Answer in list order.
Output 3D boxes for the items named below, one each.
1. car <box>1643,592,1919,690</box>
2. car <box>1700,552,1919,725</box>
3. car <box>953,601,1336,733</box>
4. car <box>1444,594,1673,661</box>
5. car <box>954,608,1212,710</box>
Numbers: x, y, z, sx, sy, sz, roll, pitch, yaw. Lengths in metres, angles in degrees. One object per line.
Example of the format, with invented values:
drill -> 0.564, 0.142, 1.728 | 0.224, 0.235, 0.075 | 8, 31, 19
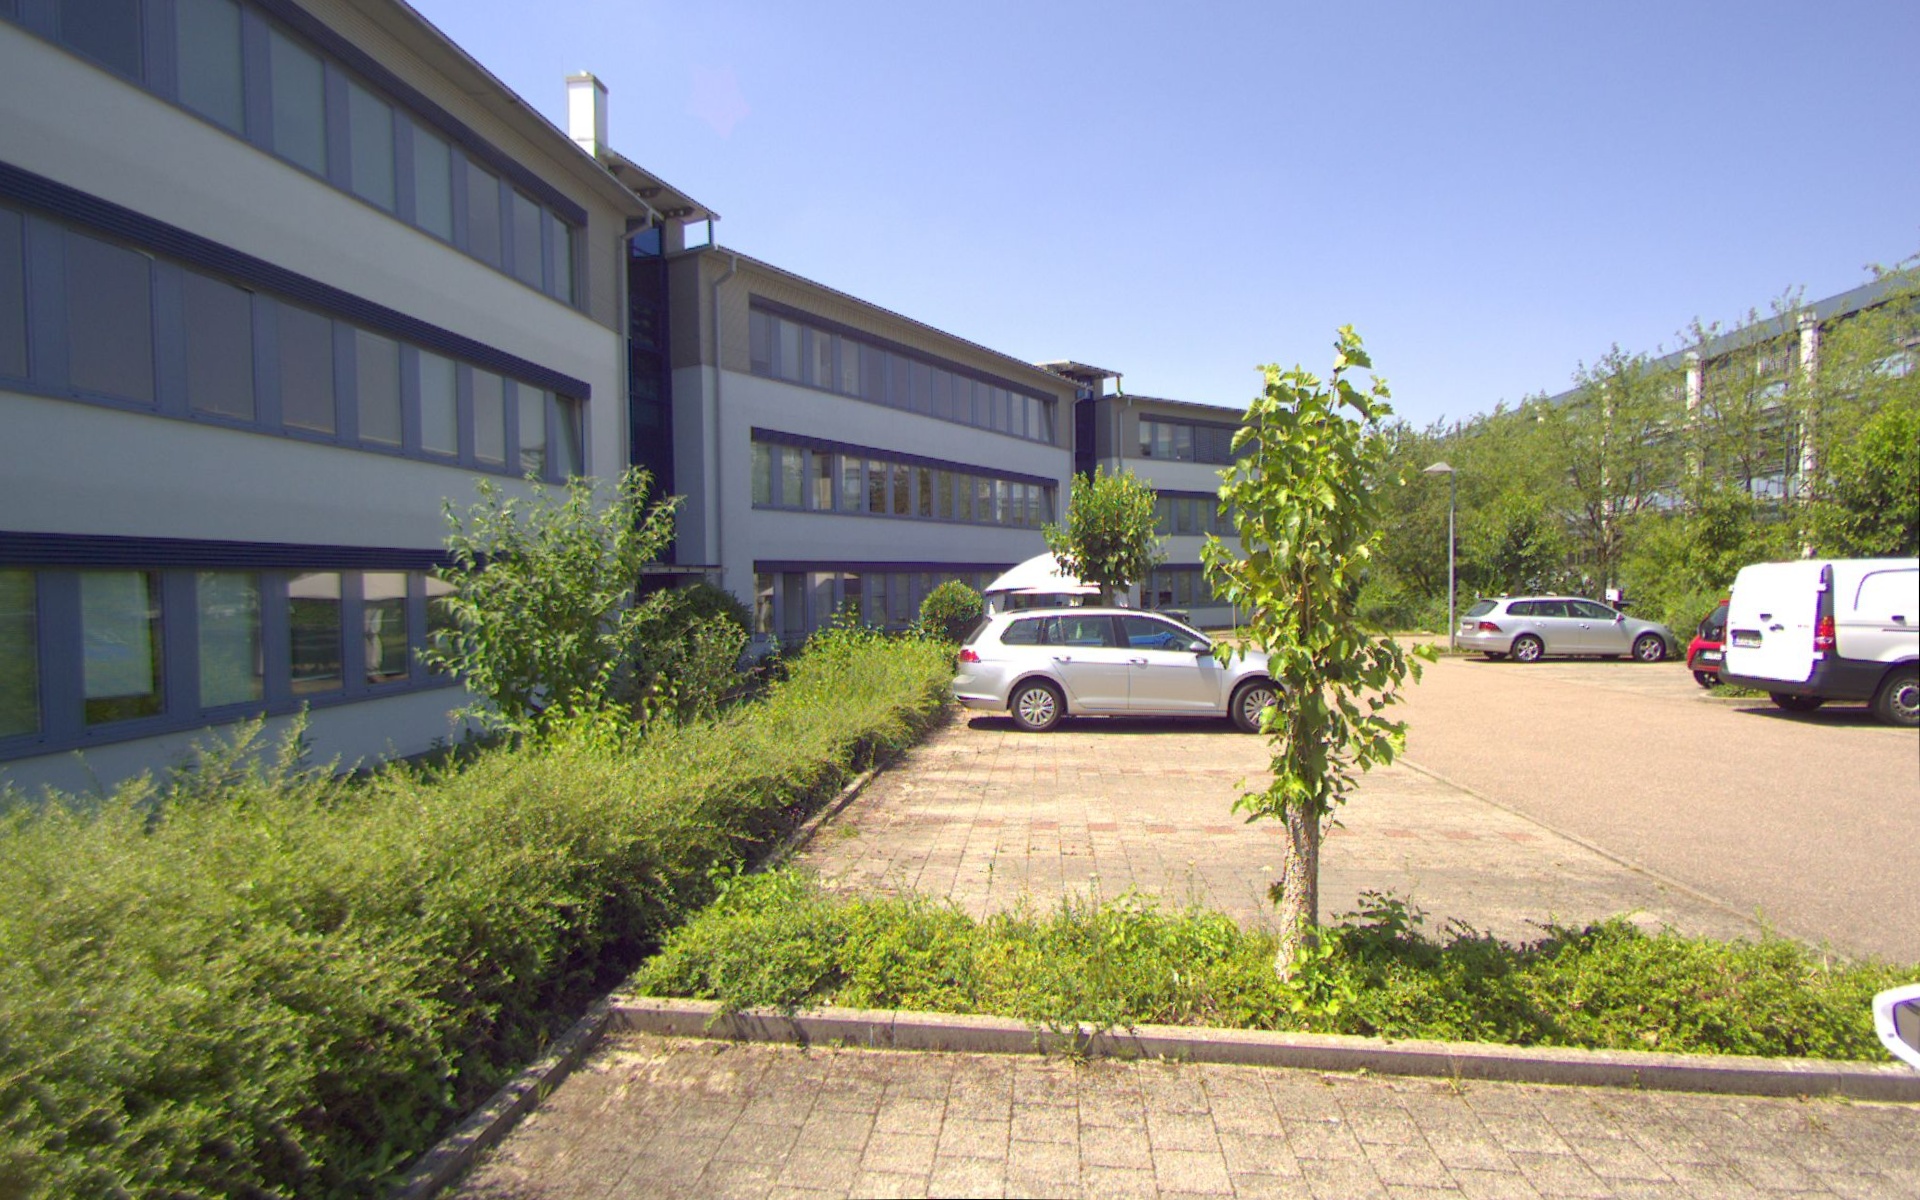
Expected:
car -> 13.417, 0.622, 15.903 | 3.919, 1.460, 1.789 | -1, 0, 7
car -> 11.965, 0.395, 12.005 | 4.706, 1.916, 1.888 | -1, 0, 6
car -> 2.189, 0.791, 12.615 | 4.393, 1.492, 1.864 | -1, 0, 4
car -> 13.572, 0.617, 23.010 | 4.086, 1.425, 1.874 | -1, 0, 7
car -> 2.000, 0.926, 16.492 | 3.919, 1.481, 2.001 | -2, 0, 7
